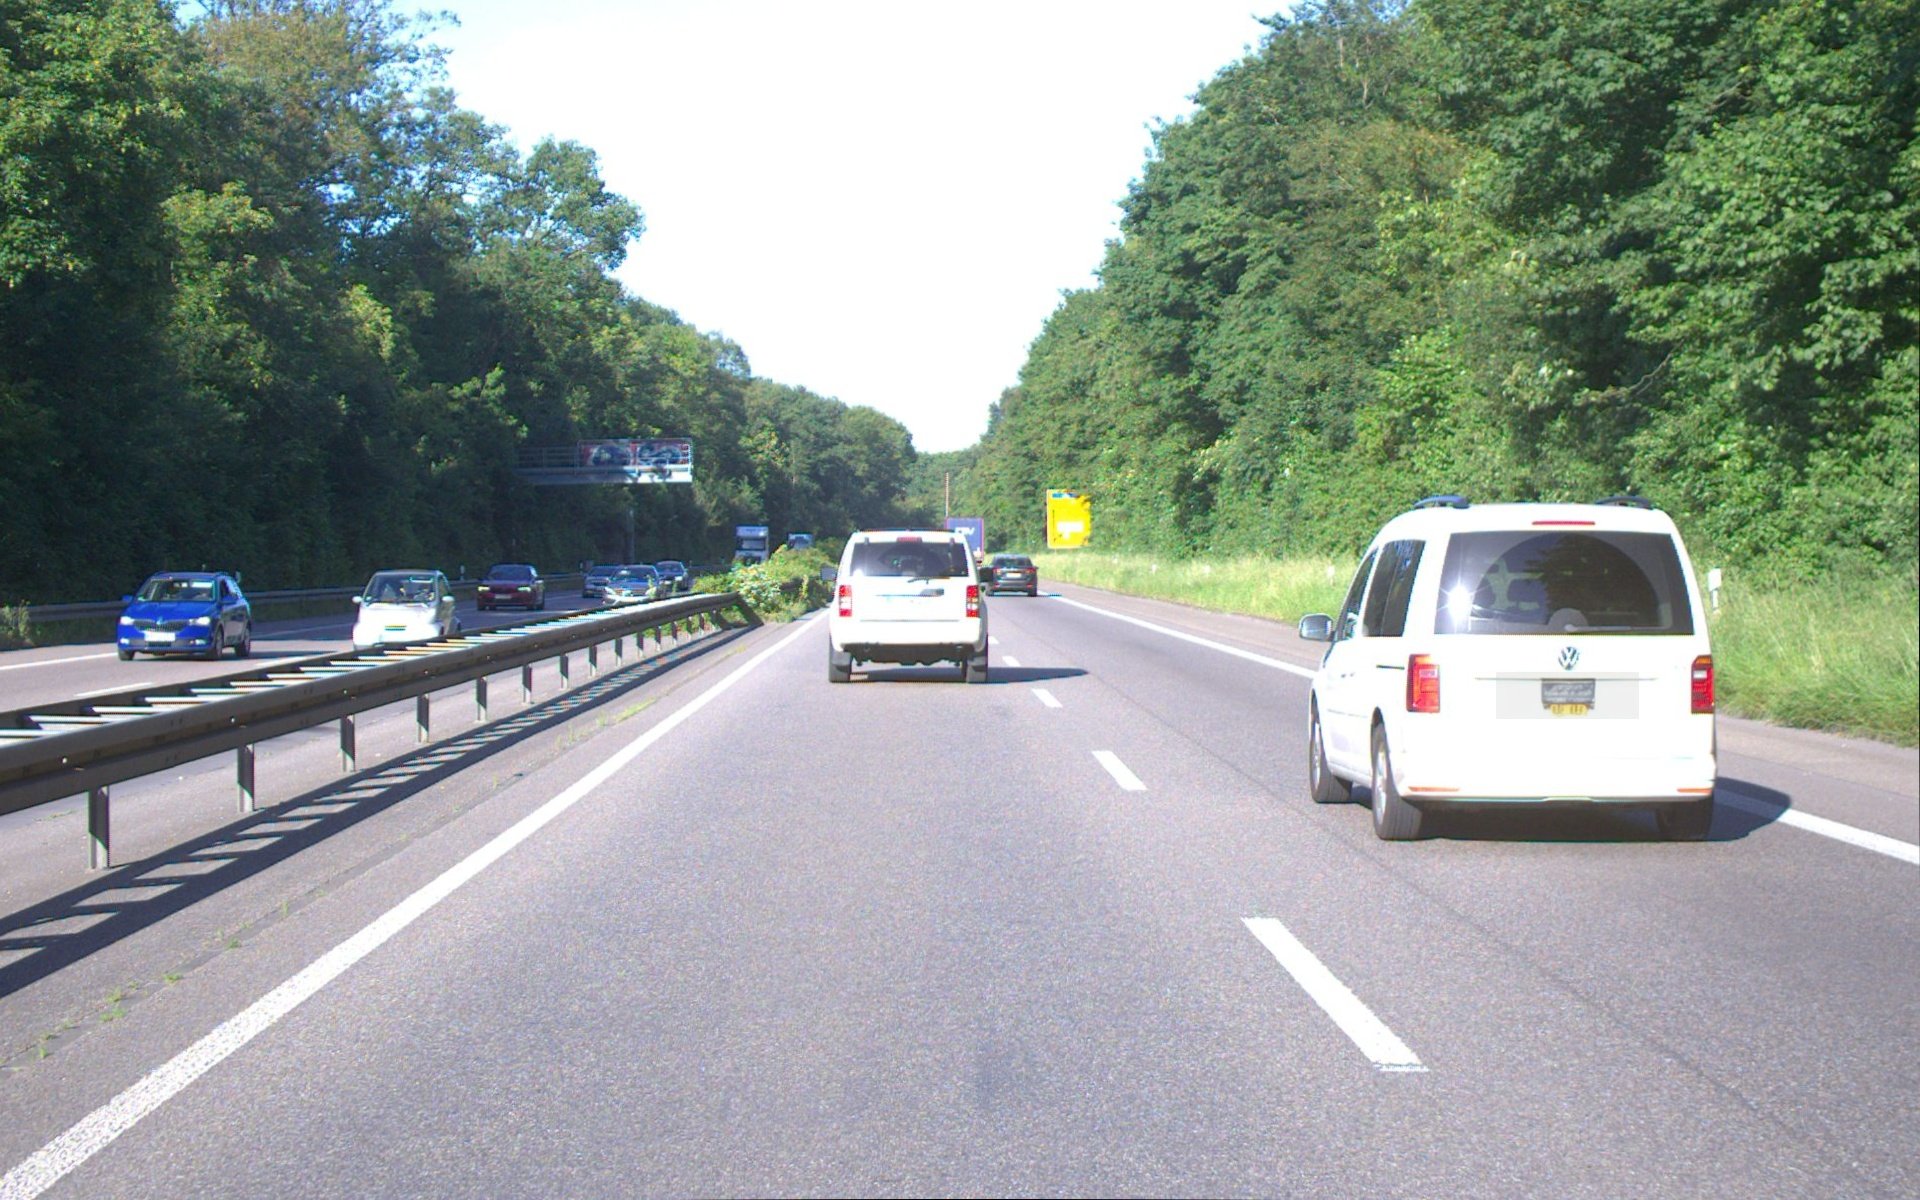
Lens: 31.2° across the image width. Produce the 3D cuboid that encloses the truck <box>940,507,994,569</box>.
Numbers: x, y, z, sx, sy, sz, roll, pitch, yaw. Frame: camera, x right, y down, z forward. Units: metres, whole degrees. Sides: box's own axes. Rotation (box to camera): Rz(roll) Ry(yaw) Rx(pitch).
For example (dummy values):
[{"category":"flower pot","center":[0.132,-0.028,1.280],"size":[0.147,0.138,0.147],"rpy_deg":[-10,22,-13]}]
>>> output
[{"category":"truck","center":[0.462,-4.267,237.341],"size":[3.496,4.158,8.862],"rpy_deg":[-1,1,-1]}]

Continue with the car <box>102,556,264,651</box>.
[{"category":"car","center":[-13.175,0.024,58.520],"size":[1.836,1.535,4.431],"rpy_deg":[0,1,-1]}]

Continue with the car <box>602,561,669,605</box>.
[{"category":"car","center":[-10.361,-0.550,109.931],"size":[1.835,1.352,4.475],"rpy_deg":[0,1,-1]}]

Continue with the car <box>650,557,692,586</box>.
[{"category":"car","center":[-14.122,-1.396,168.093],"size":[1.718,1.352,3.946],"rpy_deg":[1,0,0]}]

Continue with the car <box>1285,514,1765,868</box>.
[{"category":"car","center":[3.049,0.417,19.495],"size":[1.863,1.764,4.470],"rpy_deg":[0,1,-1]}]

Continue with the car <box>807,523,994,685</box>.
[{"category":"car","center":[-0.759,0.013,40.682],"size":[2.085,1.822,4.001],"rpy_deg":[0,1,-3]}]

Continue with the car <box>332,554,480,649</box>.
[{"category":"car","center":[-9.473,-0.007,59.107],"size":[1.877,1.535,4.465],"rpy_deg":[-1,1,-1]}]

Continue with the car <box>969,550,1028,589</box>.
[{"category":"car","center":[1.376,-1.099,123.027],"size":[1.993,1.393,4.000],"rpy_deg":[0,1,-1]}]

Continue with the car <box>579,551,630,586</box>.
[{"category":"car","center":[-14.432,-1.294,139.689],"size":[1.718,1.352,4.229],"rpy_deg":[-1,1,-1]}]

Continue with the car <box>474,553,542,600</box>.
[{"category":"car","center":[-14.351,-0.759,109.325],"size":[1.718,1.440,4.229],"rpy_deg":[-1,1,-1]}]
